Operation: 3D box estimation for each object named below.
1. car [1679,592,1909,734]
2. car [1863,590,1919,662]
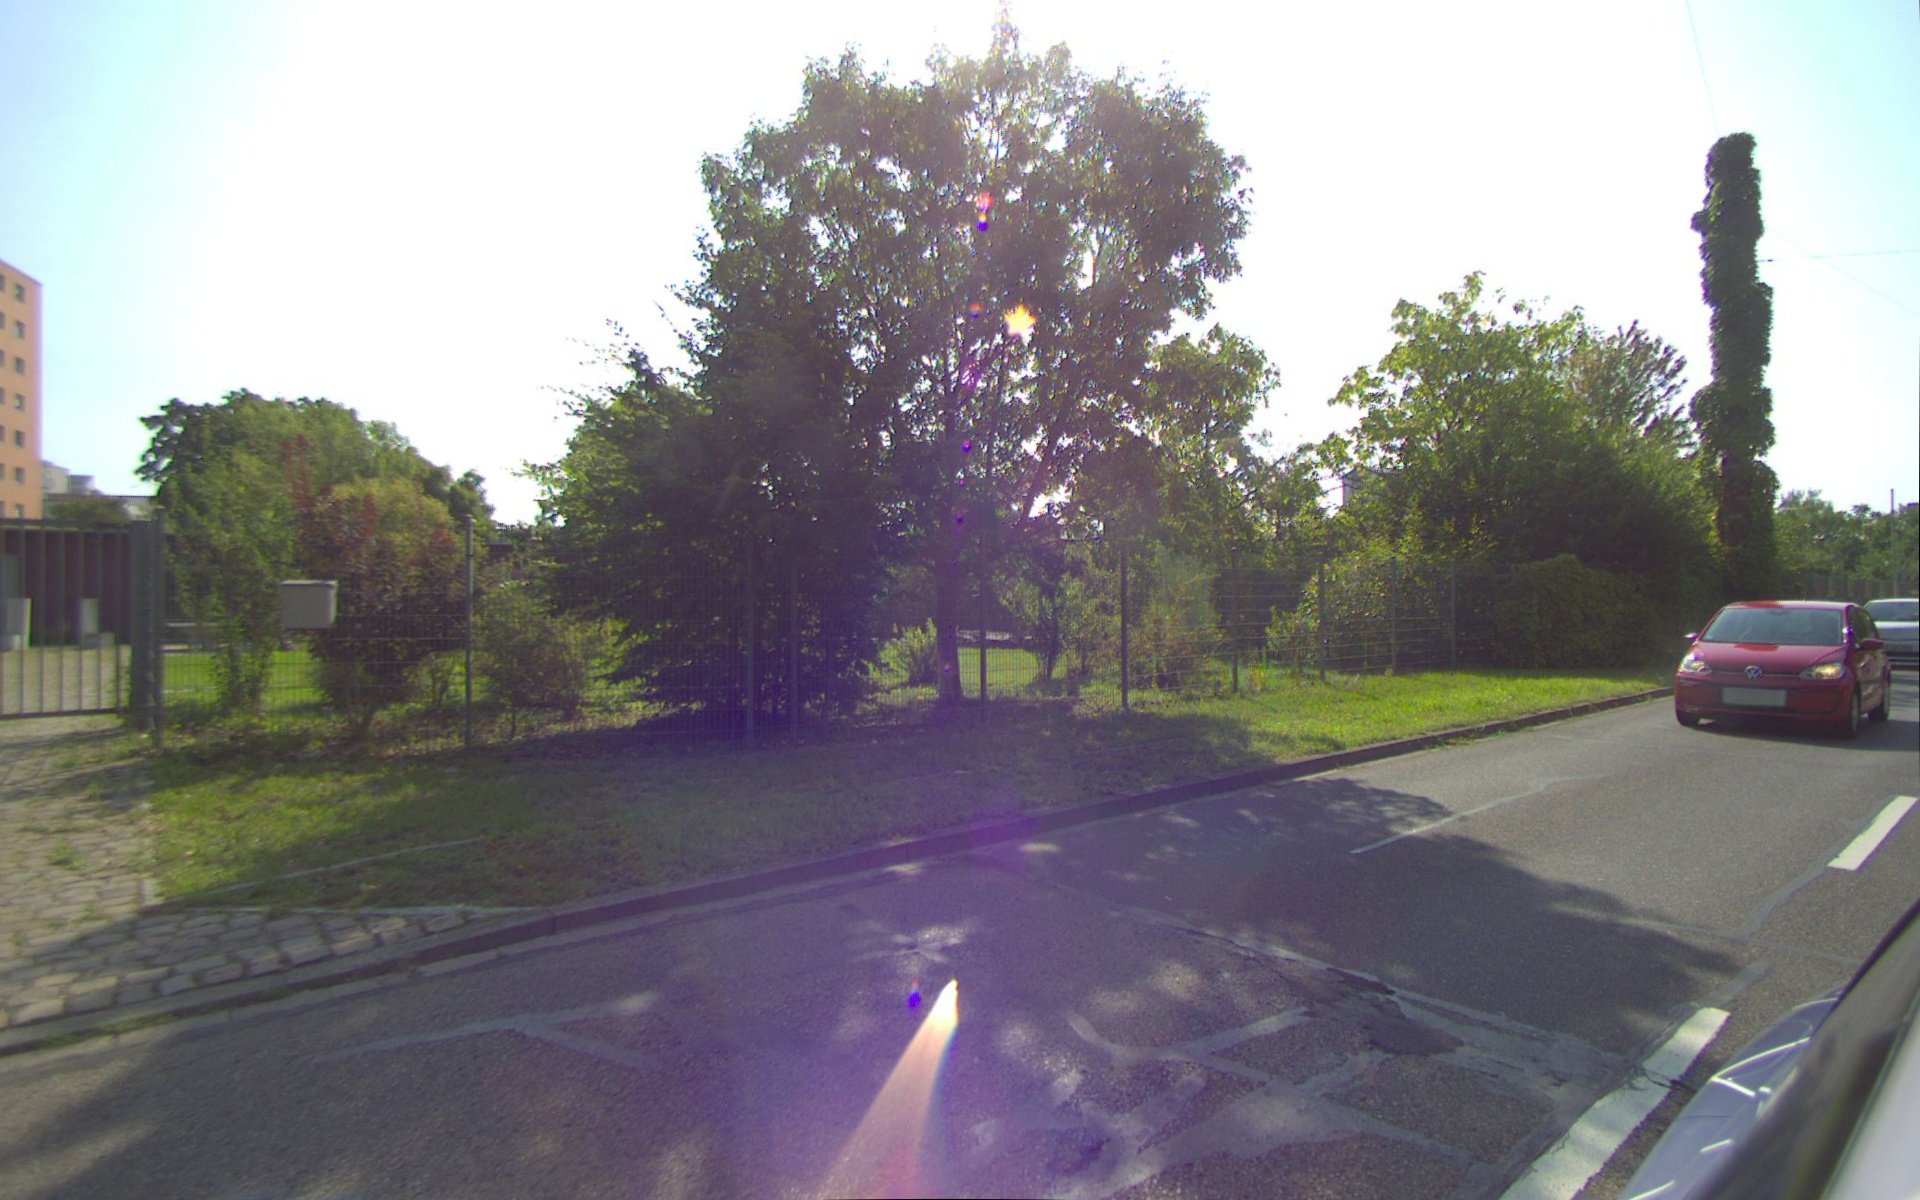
[{"bbox_3d":[10.063,0.640,12.143,3.411,1.416,1.578,-1,1,-41],"label":"car"},{"bbox_3d":[21.393,0.521,22.423,3.832,1.494,1.647,-1,0,-42],"label":"car"}]
